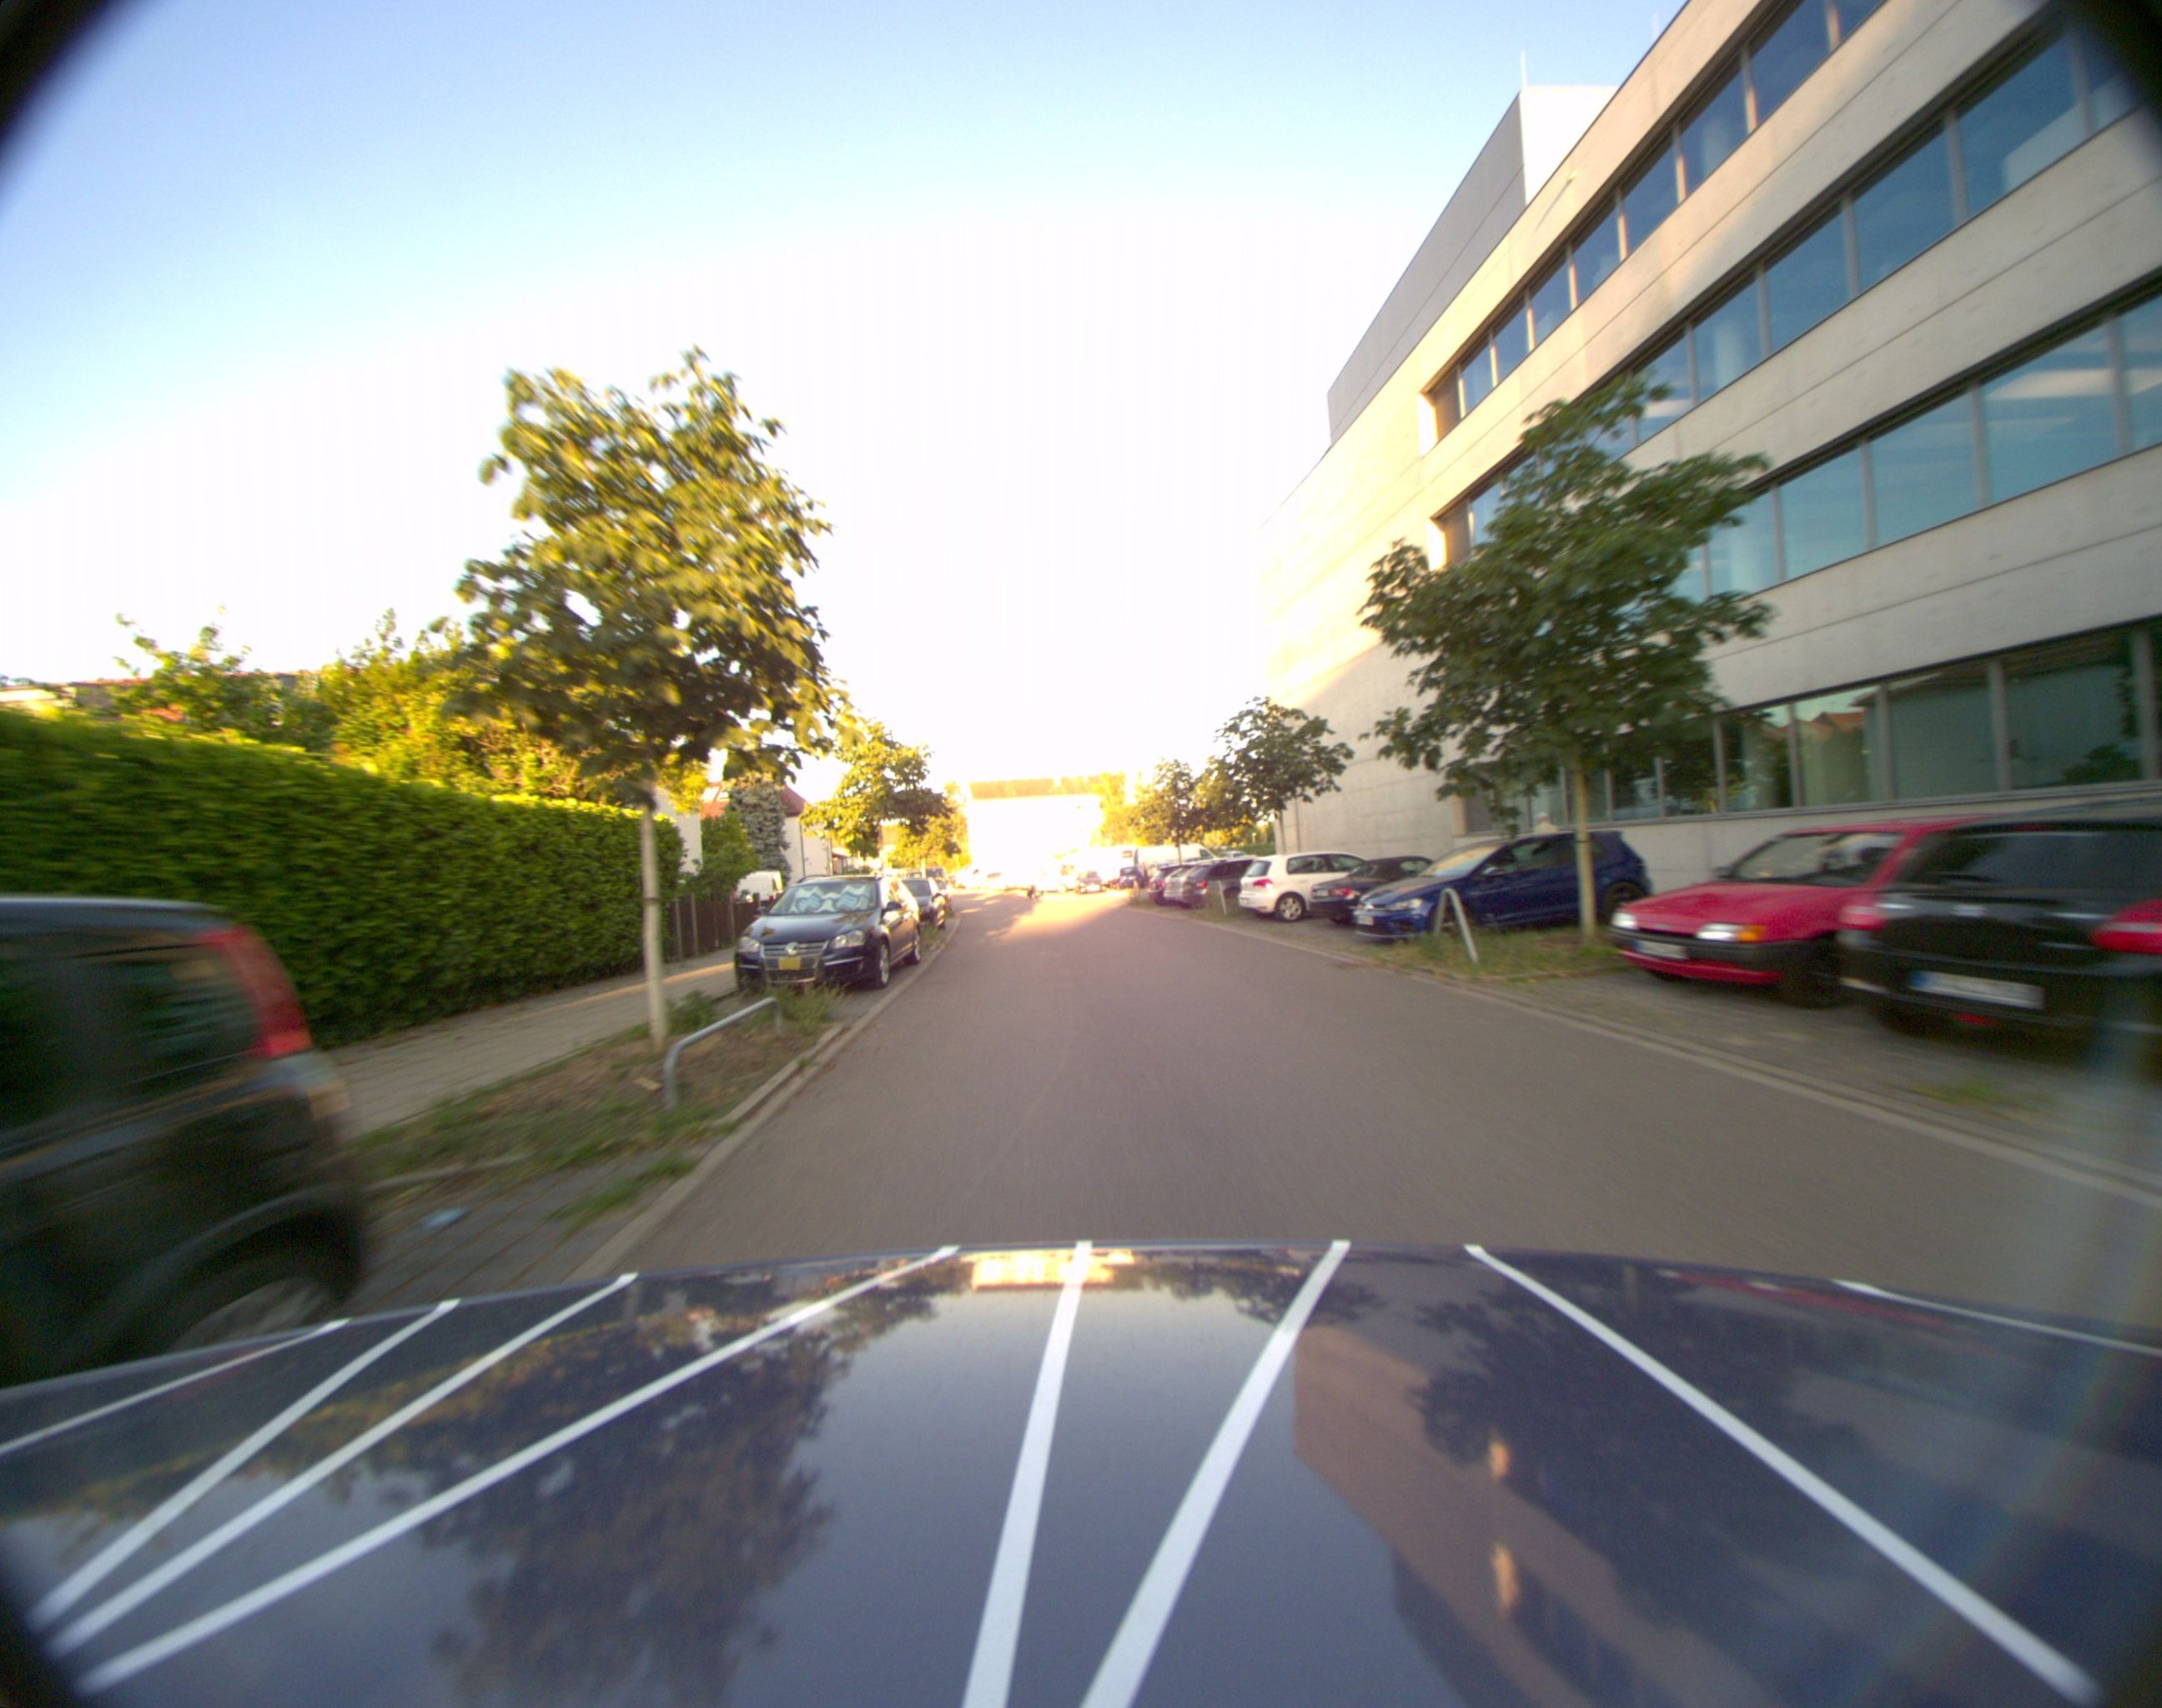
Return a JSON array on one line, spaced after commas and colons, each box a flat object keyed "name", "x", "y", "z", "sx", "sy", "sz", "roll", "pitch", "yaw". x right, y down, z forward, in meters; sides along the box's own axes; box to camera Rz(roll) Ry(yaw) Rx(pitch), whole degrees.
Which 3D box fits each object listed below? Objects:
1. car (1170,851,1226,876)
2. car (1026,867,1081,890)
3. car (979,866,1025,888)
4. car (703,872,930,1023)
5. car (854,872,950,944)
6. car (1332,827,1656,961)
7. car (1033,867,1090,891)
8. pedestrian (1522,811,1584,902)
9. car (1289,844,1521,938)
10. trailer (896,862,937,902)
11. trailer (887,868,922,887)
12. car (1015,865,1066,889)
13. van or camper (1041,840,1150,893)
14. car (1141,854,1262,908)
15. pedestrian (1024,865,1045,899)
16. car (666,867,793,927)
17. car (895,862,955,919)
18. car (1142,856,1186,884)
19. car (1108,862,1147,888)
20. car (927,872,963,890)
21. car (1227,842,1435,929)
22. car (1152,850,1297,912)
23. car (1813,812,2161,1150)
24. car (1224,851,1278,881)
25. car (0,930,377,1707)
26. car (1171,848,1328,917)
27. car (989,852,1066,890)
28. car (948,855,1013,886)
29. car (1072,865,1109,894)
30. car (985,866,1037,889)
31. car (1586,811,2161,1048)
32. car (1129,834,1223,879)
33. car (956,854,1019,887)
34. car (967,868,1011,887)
[{"name": "car", "x": 8.151, "y": 0.655, "z": 53.129, "sx": 3.450, "sy": 1.439, "sz": 1.513, "roll": -6, "pitch": 0, "yaw": -11}, {"name": "car", "x": -2.129, "y": 1.885, "z": 58.738, "sx": 3.740, "sy": 1.359, "sz": 1.703, "roll": -5, "pitch": 0, "yaw": -20}, {"name": "car", "x": -7.279, "y": 2.119, "z": 70.142, "sx": 3.939, "sy": 1.581, "sz": 1.746, "roll": -5, "pitch": 0, "yaw": -13}, {"name": "car", "x": -3.370, "y": 1.090, "z": 10.685, "sx": 1.715, "sy": 1.540, "sz": 4.548, "roll": -4, "pitch": -1, "yaw": -3}, {"name": "car", "x": -4.417, "y": 1.269, "z": 19.222, "sx": 1.745, "sy": 1.542, "sz": 3.639, "roll": -4, "pitch": -1, "yaw": -5}, {"name": "car", "x": 6.093, "y": 0.565, "z": 11.487, "sx": 3.881, "sy": 1.502, "sz": 1.759, "roll": -5, "pitch": -1, "yaw": -5}, {"name": "car", "x": -1.450, "y": 1.840, "z": 56.006, "sx": 3.822, "sy": 1.321, "sz": 1.691, "roll": -5, "pitch": 0, "yaw": -18}, {"name": "pedestrian", "x": 9.620, "y": 0.057, "z": 15.511, "sx": 0.647, "sy": 1.773, "sz": 0.725, "roll": -5, "pitch": 0, "yaw": -5}, {"name": "car", "x": 6.105, "y": 0.671, "z": 14.487, "sx": 3.644, "sy": 1.353, "sz": 1.685, "roll": -5, "pitch": -1, "yaw": -10}, {"name": "trailer", "x": -10.331, "y": 1.741, "z": 47.506, "sx": 2.072, "sy": 2.198, "sz": 5.217, "roll": -3, "pitch": -1, "yaw": -16}, {"name": "trailer", "x": -27.613, "y": 3.679, "z": 118.768, "sx": 4.811, "sy": 2.419, "sz": 2.130, "roll": -6, "pitch": 2, "yaw": -20}, {"name": "car", "x": -3.261, "y": 1.860, "z": 61.161, "sx": 3.642, "sy": 1.510, "sz": 1.703, "roll": -5, "pitch": 0, "yaw": -20}, {"name": "van or camper", "x": 0.945, "y": 0.817, "z": 51.425, "sx": 6.764, "sy": 2.880, "sz": 2.406, "roll": -5, "pitch": 0, "yaw": -13}, {"name": "car", "x": 4.252, "y": 0.946, "z": 27.025, "sx": 3.747, "sy": 1.473, "sz": 1.768, "roll": -5, "pitch": -1, "yaw": -11}, {"name": "pedestrian", "x": -2.635, "y": 1.584, "z": 42.801, "sx": 0.903, "sy": 1.839, "sz": 0.855, "roll": -4, "pitch": -1, "yaw": -18}, {"name": "car", "x": -18.642, "y": 2.271, "z": 40.529, "sx": 5.580, "sy": 2.676, "sz": 2.053, "roll": -4, "pitch": -2, "yaw": -7}, {"name": "car", "x": -6.482, "y": 1.473, "z": 32.003, "sx": 2.072, "sy": 2.082, "sz": 4.869, "roll": -4, "pitch": -1, "yaw": -9}, {"name": "car", "x": 5.101, "y": 0.970, "z": 47.326, "sx": 1.668, "sy": 1.471, "sz": 4.200, "roll": -6, "pitch": 1, "yaw": -7}, {"name": "car", "x": 2.810, "y": 1.262, "z": 46.914, "sx": 1.668, "sy": 1.414, "sz": 3.720, "roll": -4, "pitch": 0, "yaw": -7}, {"name": "car", "x": -16.507, "y": 3.293, "z": 92.417, "sx": 3.940, "sy": 1.642, "sz": 1.746, "roll": -6, "pitch": 0, "yaw": -19}, {"name": "car", "x": 5.552, "y": 0.688, "z": 17.163, "sx": 3.998, "sy": 1.502, "sz": 1.759, "roll": -5, "pitch": -1, "yaw": -5}, {"name": "car", "x": 4.580, "y": 0.861, "z": 24.499, "sx": 4.099, "sy": 1.519, "sz": 1.845, "roll": -6, "pitch": 0, "yaw": -11}, {"name": "car", "x": 6.742, "y": 0.489, "z": 4.238, "sx": 3.712, "sy": 1.449, "sz": 1.679, "roll": -5, "pitch": 0, "yaw": -3}, {"name": "car", "x": 10.400, "y": 0.681, "z": 46.867, "sx": 1.668, "sy": 1.472, "sz": 4.400, "roll": -6, "pitch": 3, "yaw": -8}, {"name": "car", "x": -2.860, "y": 1.012, "z": 0.425, "sx": 1.581, "sy": 1.501, "sz": 3.496, "roll": -3, "pitch": 0, "yaw": 0}, {"name": "car", "x": 4.806, "y": 0.815, "z": 21.860, "sx": 4.011, "sy": 1.503, "sz": 1.584, "roll": -6, "pitch": -2, "yaw": -11}, {"name": "car", "x": -4.571, "y": 1.446, "z": 64.252, "sx": 5.909, "sy": 2.519, "sz": 2.408, "roll": -6, "pitch": 1, "yaw": -17}, {"name": "car", "x": -10.870, "y": 1.785, "z": 82.623, "sx": 6.415, "sy": 2.698, "sz": 2.109, "roll": -6, "pitch": 2, "yaw": -29}, {"name": "car", "x": 0.523, "y": 1.515, "z": 46.761, "sx": 1.691, "sy": 1.510, "sz": 4.359, "roll": -6, "pitch": 0, "yaw": -6}, {"name": "car", "x": -6.272, "y": 2.054, "z": 68.195, "sx": 4.142, "sy": 1.582, "sz": 1.745, "roll": -6, "pitch": 1, "yaw": -20}, {"name": "car", "x": 6.748, "y": 0.538, "z": 6.493, "sx": 3.713, "sy": 1.449, "sz": 1.711, "roll": -5, "pitch": 0, "yaw": -4}, {"name": "car", "x": 6.967, "y": 0.209, "z": 55.742, "sx": 6.263, "sy": 2.657, "sz": 2.221, "roll": -6, "pitch": 0, "yaw": -11}, {"name": "car", "x": -9.586, "y": 1.714, "z": 78.359, "sx": 5.849, "sy": 2.697, "sz": 2.047, "roll": -6, "pitch": 0, "yaw": -24}, {"name": "car", "x": -9.206, "y": 2.323, "z": 75.858, "sx": 3.941, "sy": 1.498, "sz": 1.787, "roll": -5, "pitch": 0, "yaw": -21}]
